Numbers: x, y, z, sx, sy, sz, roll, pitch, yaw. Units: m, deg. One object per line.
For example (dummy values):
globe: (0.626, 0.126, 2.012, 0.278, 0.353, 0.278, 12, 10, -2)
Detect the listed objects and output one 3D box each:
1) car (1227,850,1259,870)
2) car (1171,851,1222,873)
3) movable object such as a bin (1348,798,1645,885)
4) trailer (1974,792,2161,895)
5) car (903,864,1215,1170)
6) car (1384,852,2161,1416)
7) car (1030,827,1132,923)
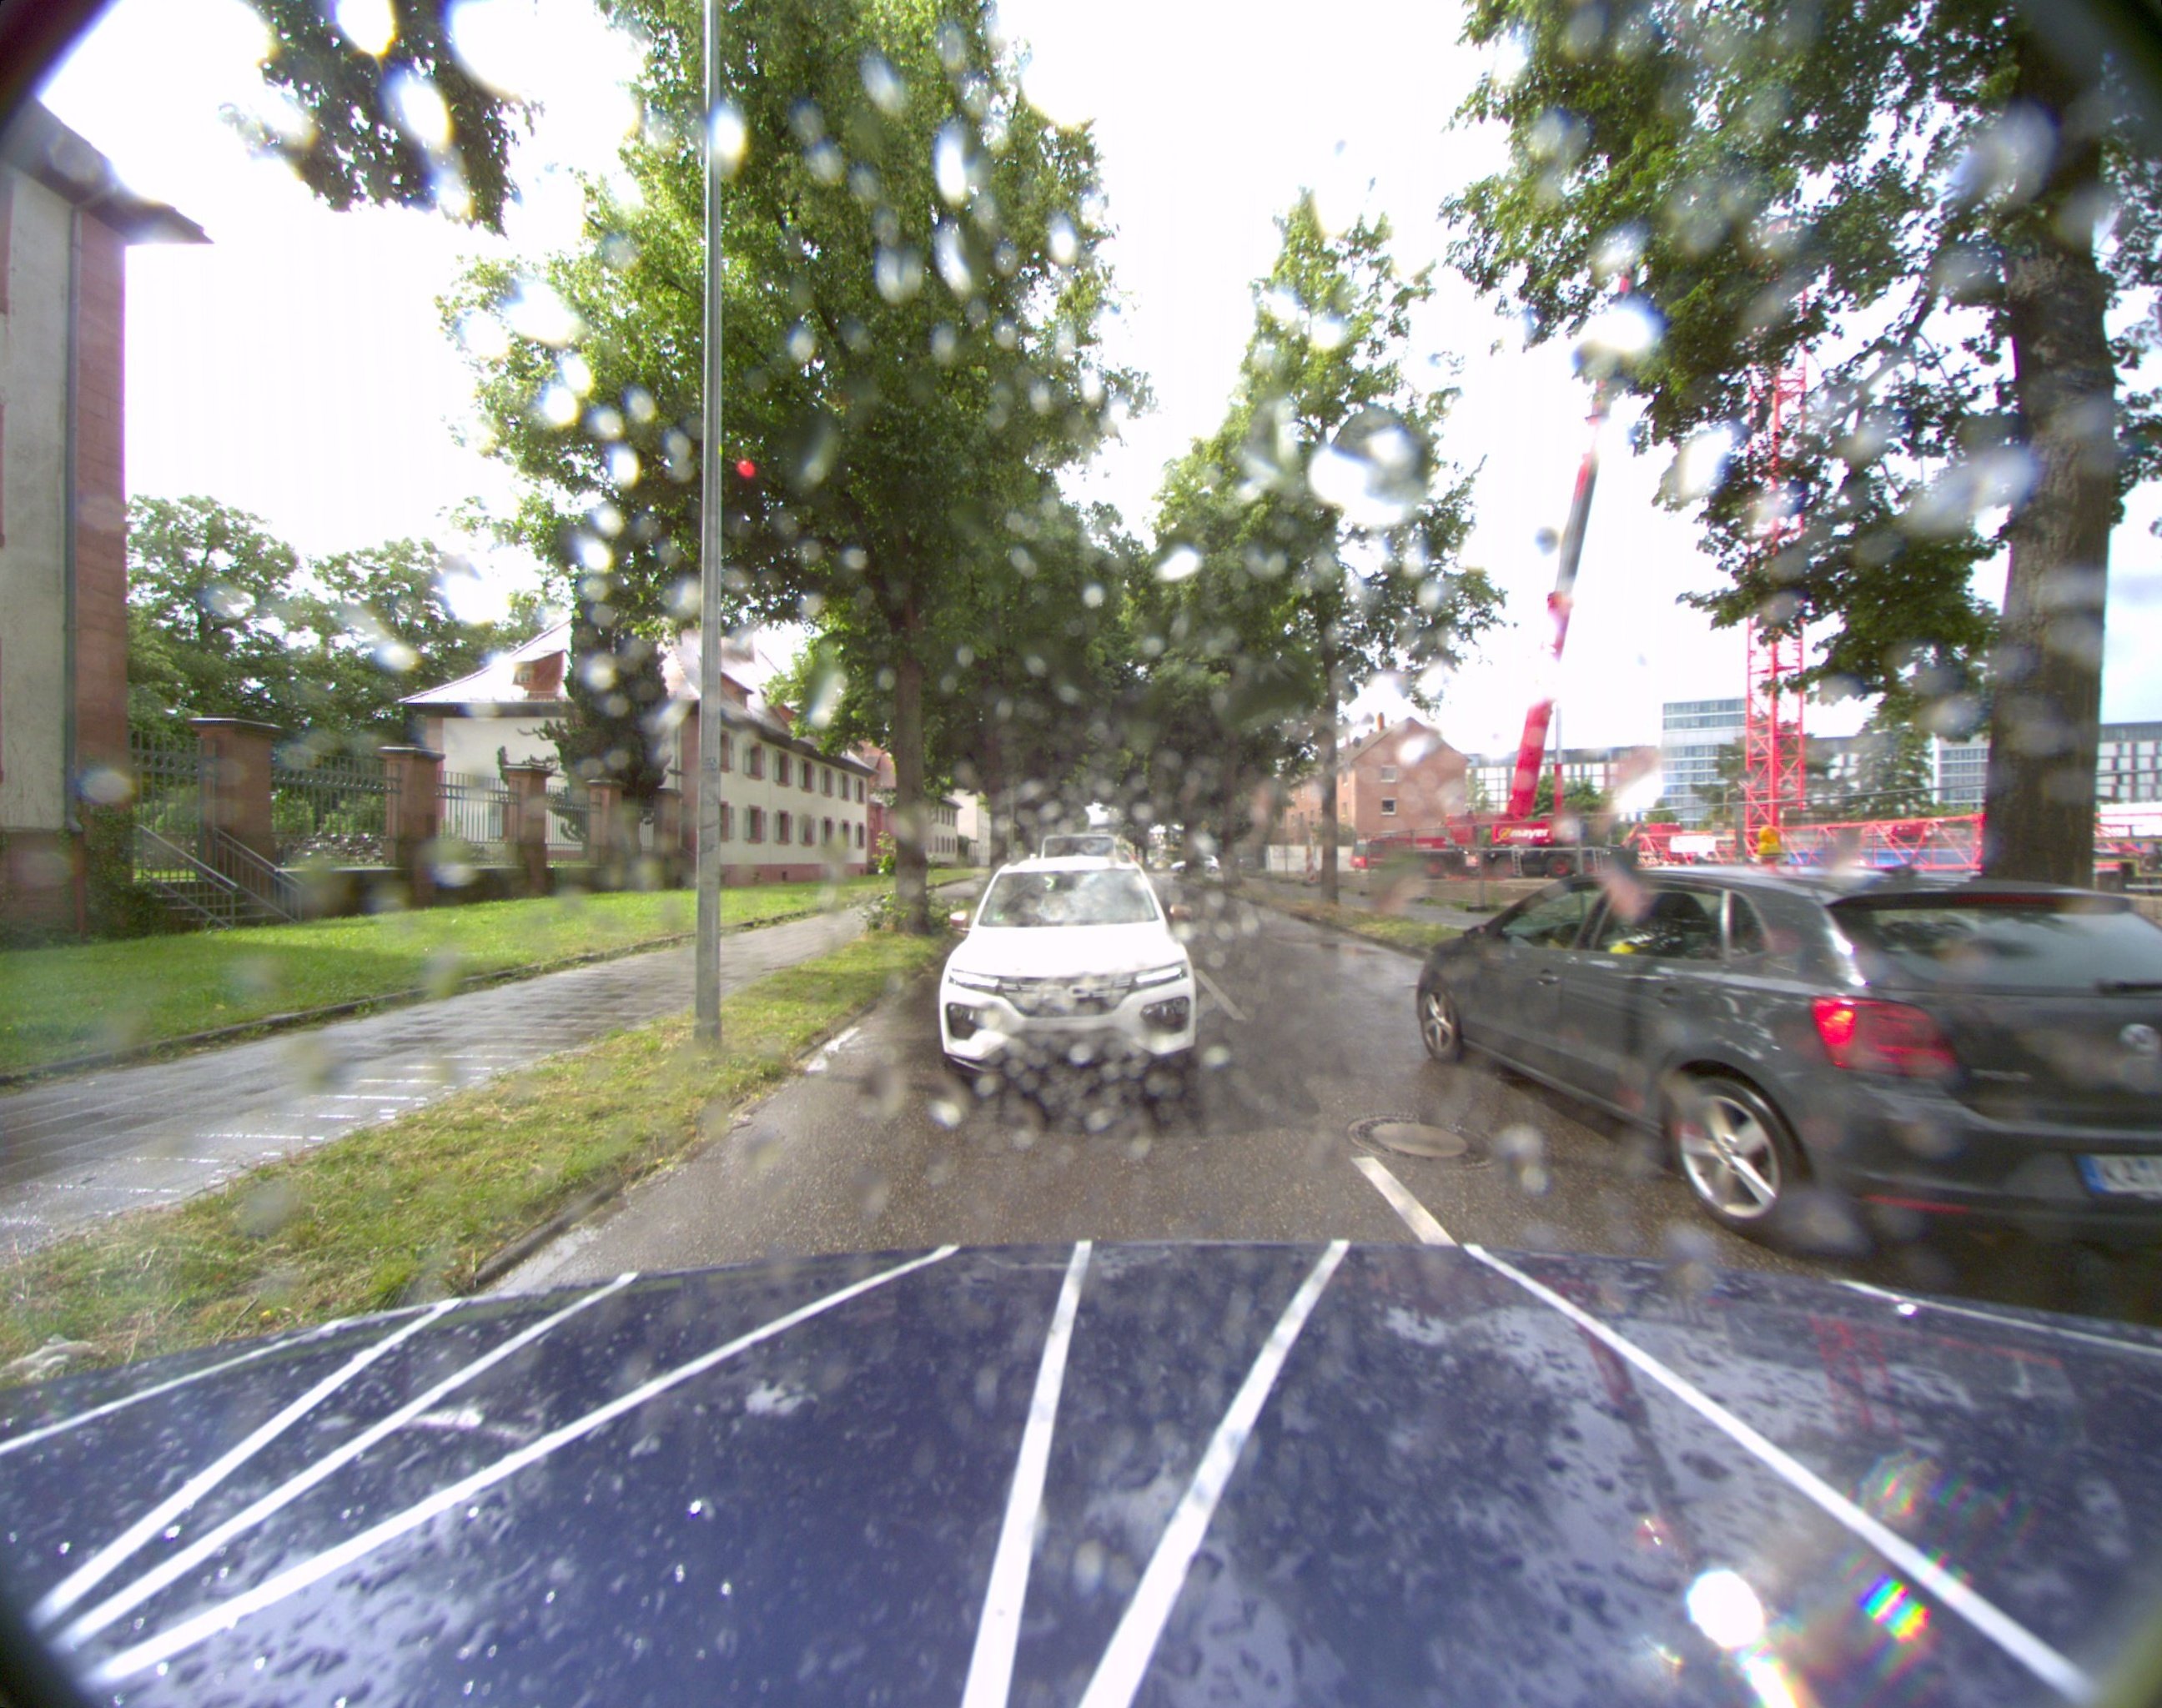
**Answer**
car: (13.880, 0.503, 65.274, 1.693, 1.521, 3.999, -2, 1, -1)
car: (9.204, 0.636, 60.726, 3.869, 1.543, 1.698, -2, 1, 2)
movable object such as a bin: (24.905, -0.715, 46.268, 15.941, 4.532, 3.102, -2, 1, 4)
trailer: (35.793, -0.372, 22.007, 2.968, 3.214, 14.308, -4, 1, 0)
car: (-0.080, 0.898, 6.028, 1.608, 1.499, 4.000, -2, 1, 1)
car: (3.376, 0.831, 4.178, 1.818, 1.532, 3.981, 2, 2, 1)
car: (-0.059, 0.417, 19.061, 2.107, 1.990, 5.433, -2, 1, -1)
